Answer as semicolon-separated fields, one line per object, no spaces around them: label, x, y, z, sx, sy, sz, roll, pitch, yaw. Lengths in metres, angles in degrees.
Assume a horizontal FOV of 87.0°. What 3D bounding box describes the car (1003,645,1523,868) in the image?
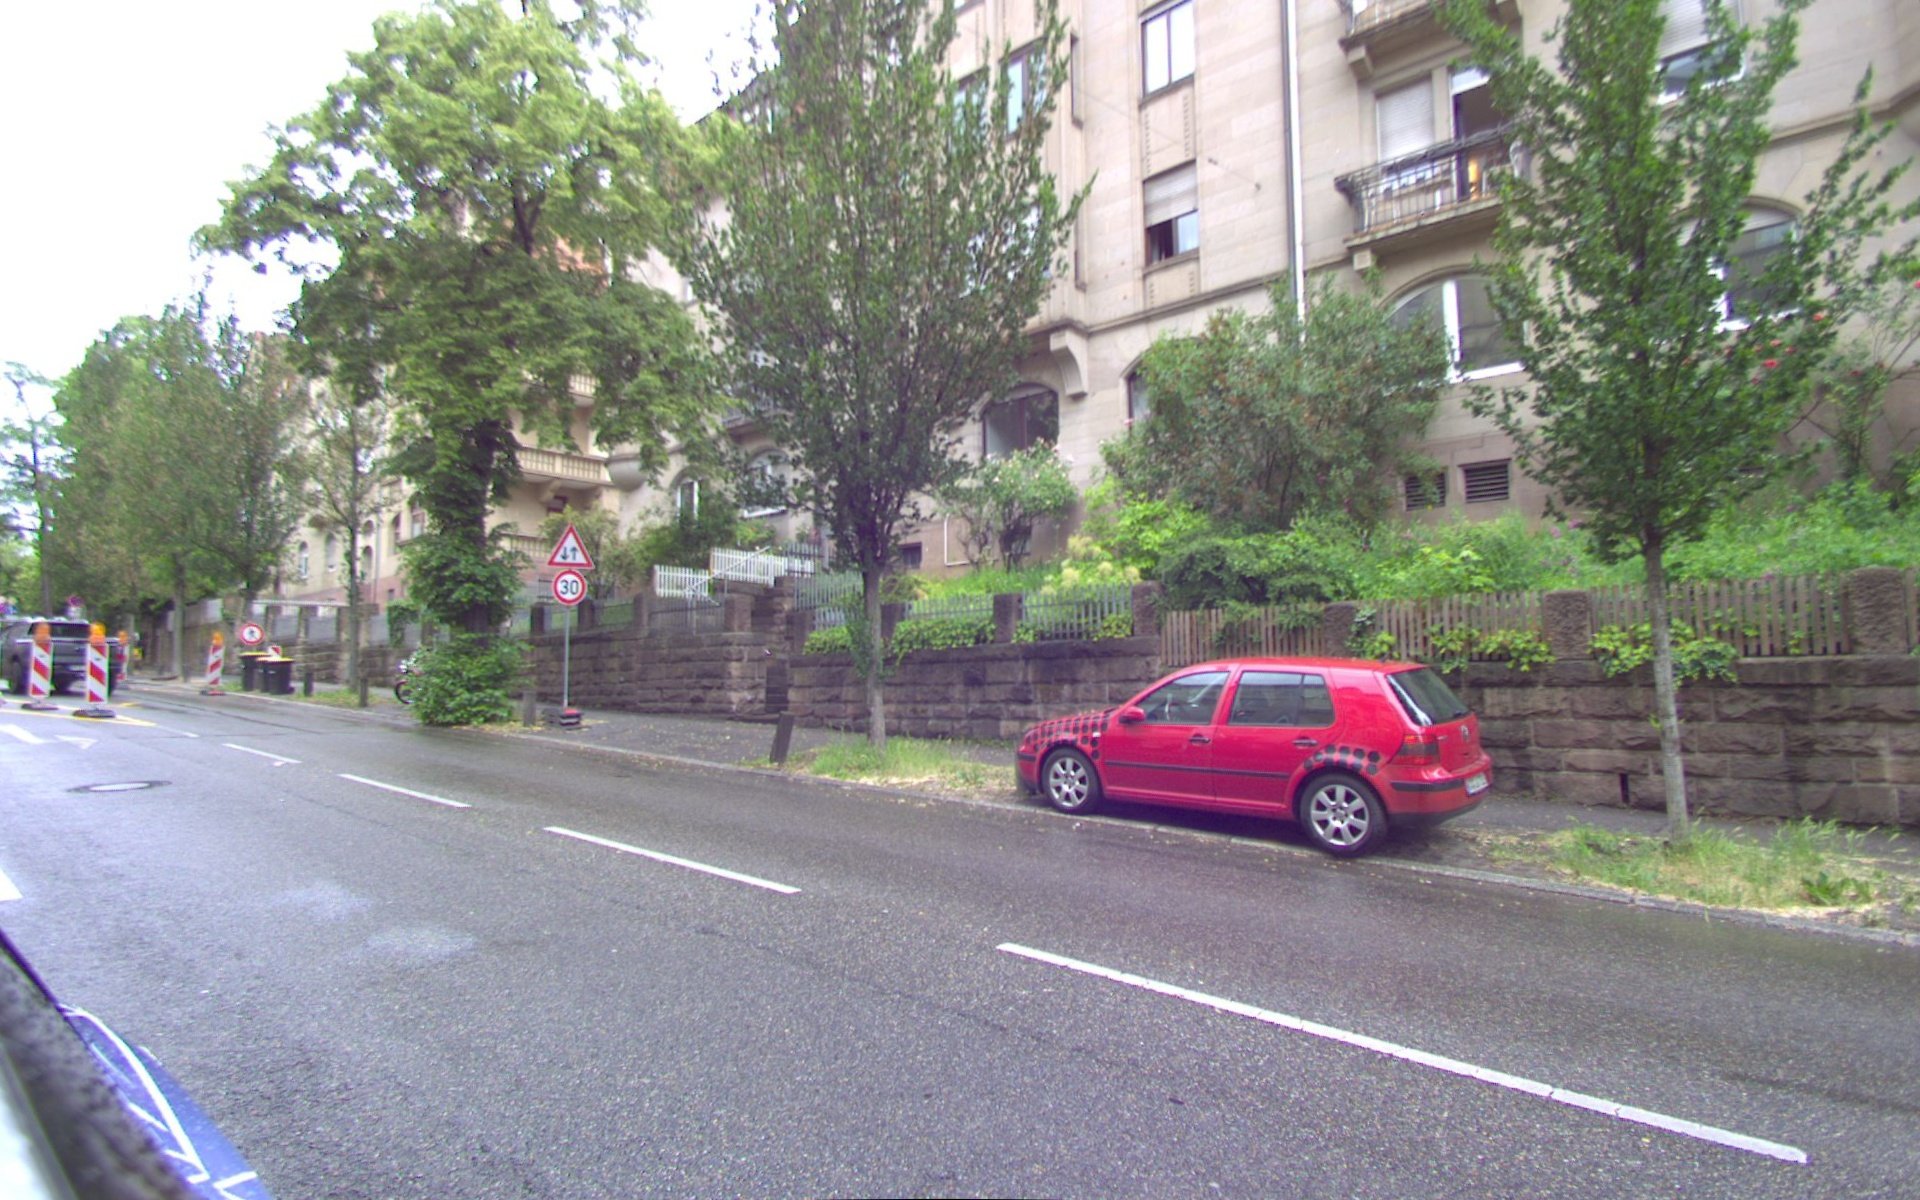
car;2.444;1.151;8.836;4.062;1.462;1.596;-2;-3;42

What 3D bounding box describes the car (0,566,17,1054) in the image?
car;-5.367;0.764;4.128;4.520;1.685;1.799;-2;-3;42

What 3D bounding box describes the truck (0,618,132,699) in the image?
truck;-22.927;1.479;25.675;5.150;1.850;2.049;-2;-6;41

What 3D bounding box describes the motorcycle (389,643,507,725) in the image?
motorcycle;-9.729;1.548;19.163;3.058;1.425;0.792;-2;-2;38
